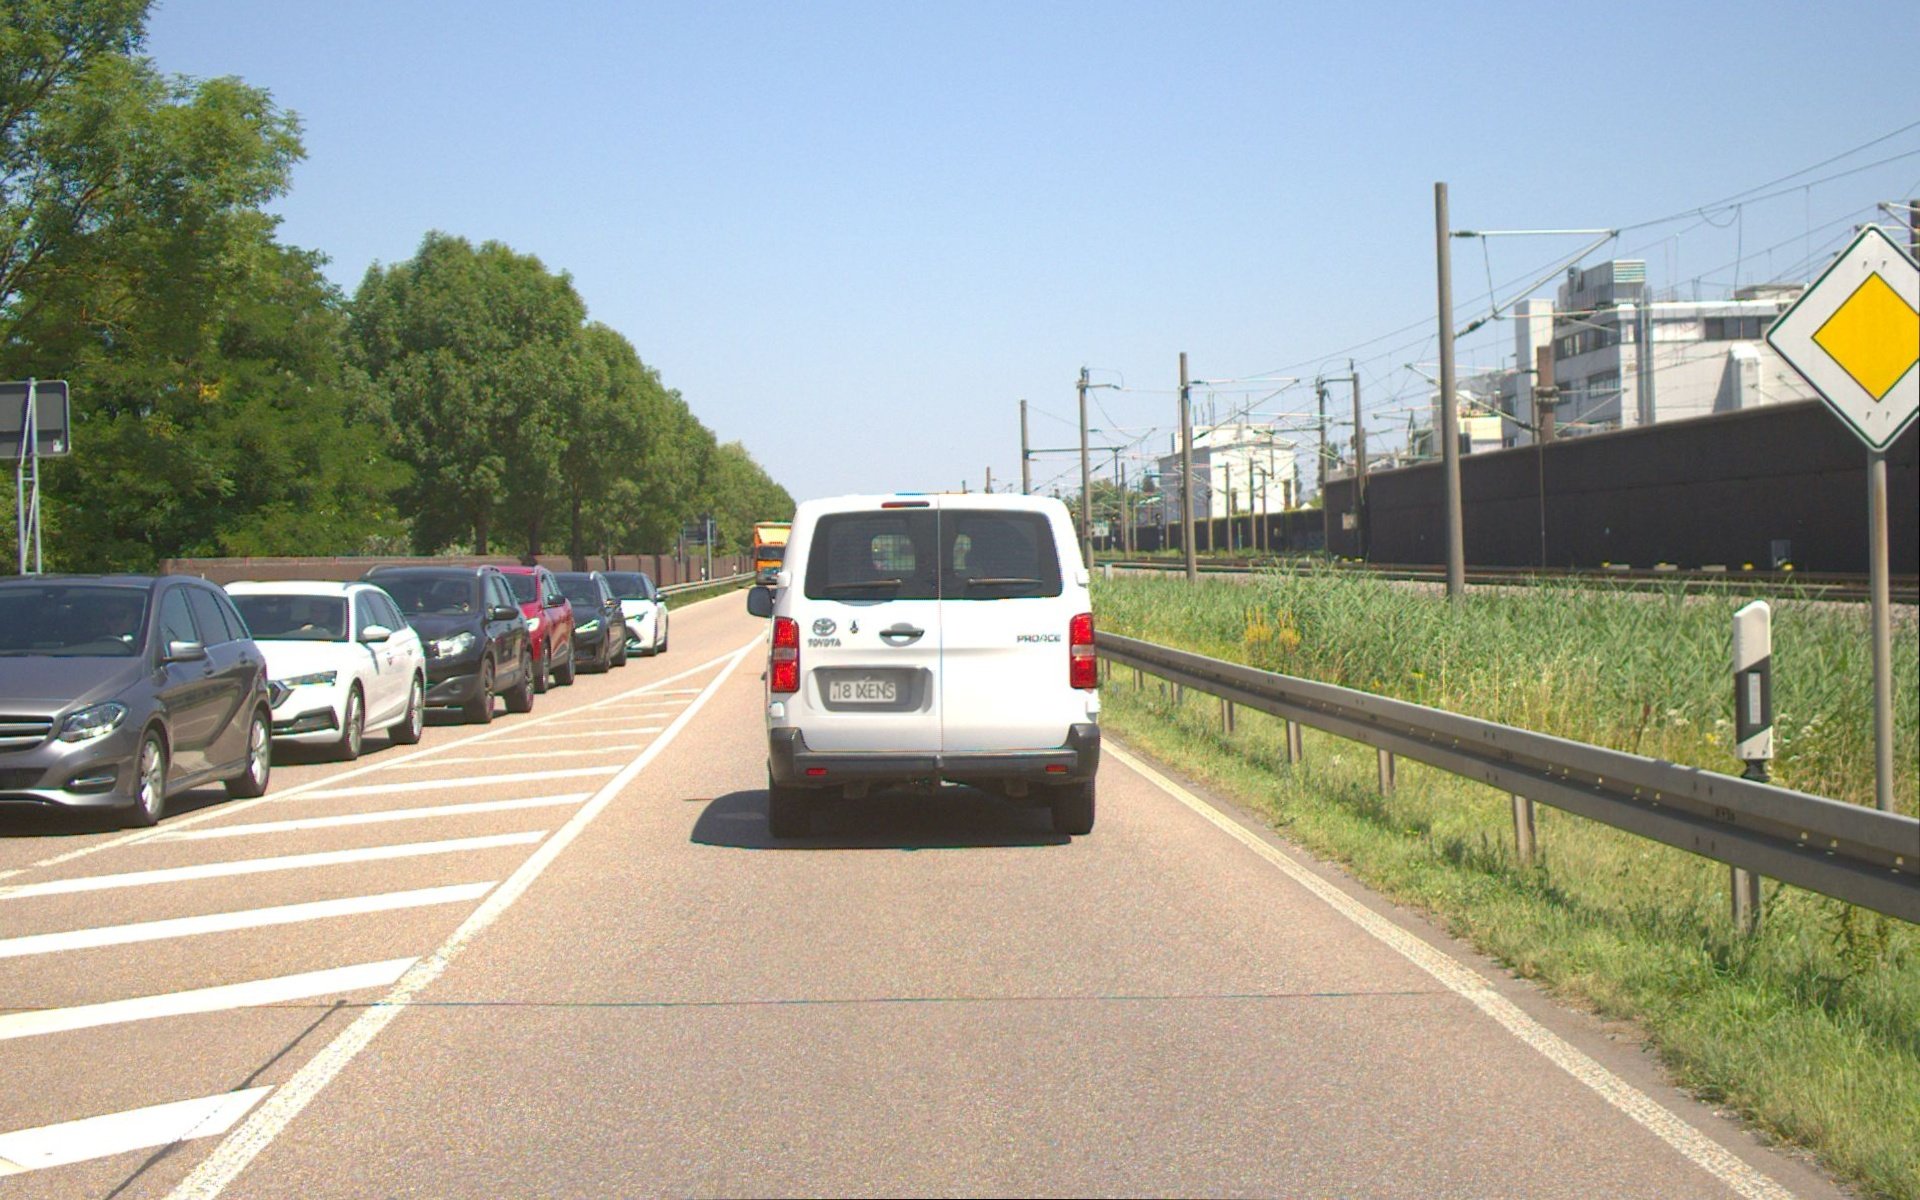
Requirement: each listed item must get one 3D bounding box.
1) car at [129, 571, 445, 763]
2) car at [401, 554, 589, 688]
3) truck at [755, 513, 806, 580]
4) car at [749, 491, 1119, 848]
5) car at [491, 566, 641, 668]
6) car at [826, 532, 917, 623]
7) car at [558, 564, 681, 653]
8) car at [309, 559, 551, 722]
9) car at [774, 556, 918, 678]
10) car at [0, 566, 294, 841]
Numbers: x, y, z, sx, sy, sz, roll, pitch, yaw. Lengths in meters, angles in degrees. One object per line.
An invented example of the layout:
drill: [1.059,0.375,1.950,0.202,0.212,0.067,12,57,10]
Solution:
car: [-5.647,0.507,29.385,1.653,1.473,4.630,0,1,2]
car: [-5.971,0.233,44.554,1.755,1.626,4.279,0,1,1]
truck: [-10.678,-3.166,205.025,2.792,3.827,9.325,-1,1,-2]
car: [-0.221,0.350,20.676,1.945,1.875,4.881,-1,0,-2]
car: [-5.869,0.225,51.633,1.685,1.455,4.616,0,1,0]
car: [-1.994,-0.530,78.340,2.007,2.015,4.783,0,1,-1]
car: [-5.831,0.120,59.236,1.685,1.455,4.616,0,1,0]
car: [-5.500,0.374,36.178,1.716,1.584,4.534,0,1,2]
car: [-1.636,0.203,48.120,1.905,1.644,4.142,0,1,-3]
car: [-5.601,0.590,21.981,1.624,1.532,4.384,-2,1,2]
